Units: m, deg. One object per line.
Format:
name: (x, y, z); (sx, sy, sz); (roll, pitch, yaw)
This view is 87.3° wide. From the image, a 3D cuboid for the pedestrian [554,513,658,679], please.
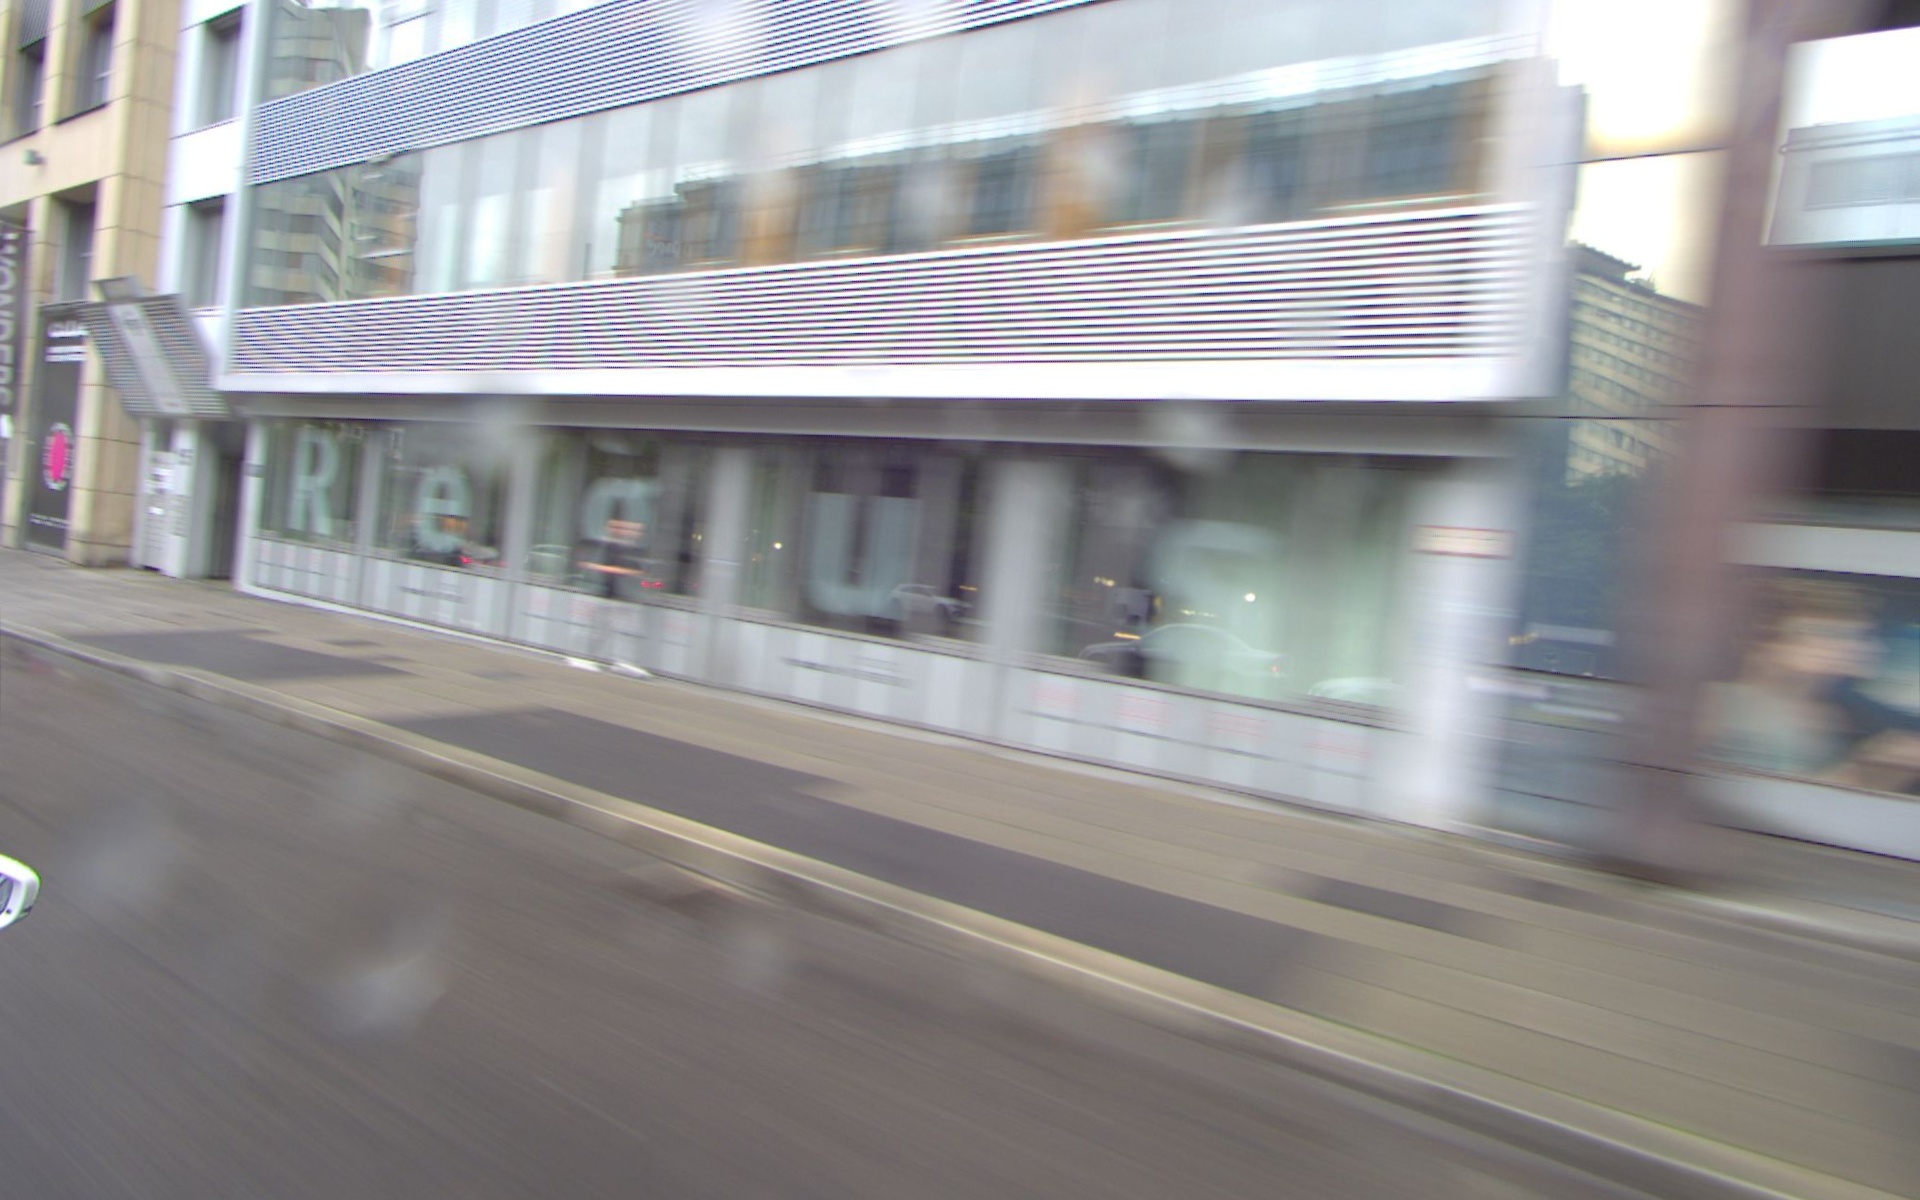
pedestrian: (-4.057, -0.039, 11.521); (0.777, 1.795, 0.636); (6, 1, 32)
